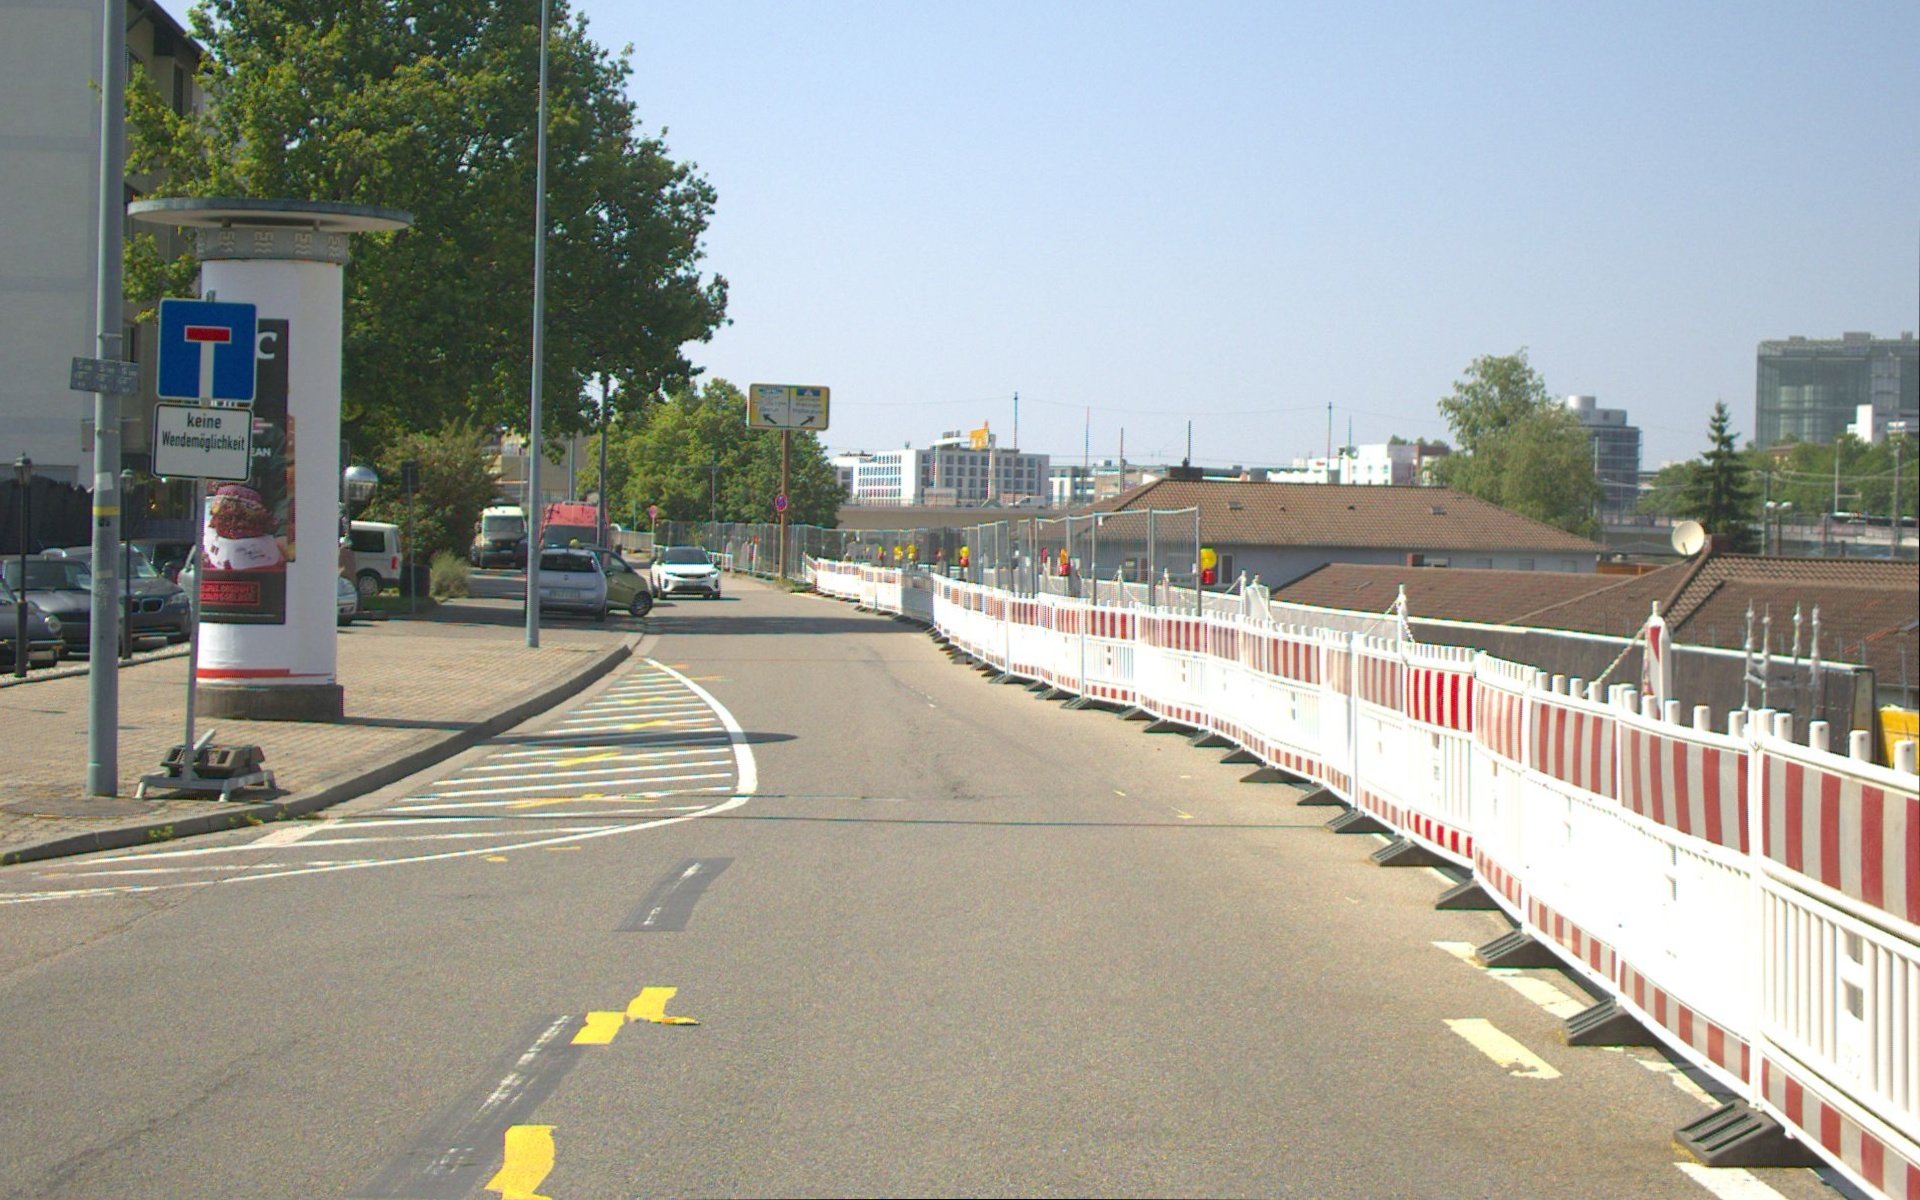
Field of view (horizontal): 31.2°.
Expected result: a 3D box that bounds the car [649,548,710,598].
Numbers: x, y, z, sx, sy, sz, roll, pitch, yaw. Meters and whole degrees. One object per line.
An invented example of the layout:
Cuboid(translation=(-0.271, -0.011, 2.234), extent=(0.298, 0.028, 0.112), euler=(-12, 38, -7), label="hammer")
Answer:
Cuboid(translation=(-8.117, -0.775, 99.548), extent=(1.716, 1.411, 4.078), euler=(1, 0, -5), label="car")

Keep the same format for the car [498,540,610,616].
Cuboid(translation=(-8.443, -0.479, 71.797), extent=(1.869, 1.493, 4.032), euler=(0, 2, 0), label="car")

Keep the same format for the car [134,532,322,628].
Cuboid(translation=(-11.982, -0.332, 56.091), extent=(1.776, 1.468, 4.000), euler=(-2, 1, -31), label="car")

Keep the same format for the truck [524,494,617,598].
Cuboid(translation=(-10.284, -1.397, 91.068), extent=(2.237, 2.639, 5.682), euler=(1, 0, -5), label="truck")

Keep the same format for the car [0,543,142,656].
Cuboid(translation=(-12.861, -0.033, 47.947), extent=(1.667, 1.468, 4.000), euler=(-2, 1, -31), label="car")

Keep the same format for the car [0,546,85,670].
Cuboid(translation=(-12.514, 0.088, 43.261), extent=(1.667, 1.468, 4.000), euler=(-2, 2, -33), label="car")

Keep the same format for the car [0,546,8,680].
Cuboid(translation=(-12.262, 0.170, 39.269), extent=(1.780, 1.468, 4.000), euler=(-2, 1, -28), label="car")

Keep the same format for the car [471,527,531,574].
Cuboid(translation=(-19.758, -2.120, 148.104), extent=(1.936, 1.828, 3.924), euler=(4, 0, -1), label="car")

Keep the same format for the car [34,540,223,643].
Cuboid(translation=(-12.763, -0.146, 52.611), extent=(1.667, 1.468, 4.000), euler=(-2, 2, -31), label="car")

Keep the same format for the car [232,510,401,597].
Cuboid(translation=(-15.572, -1.129, 83.283), extent=(3.922, 1.952, 1.760), euler=(2, 1, -10), label="car")
